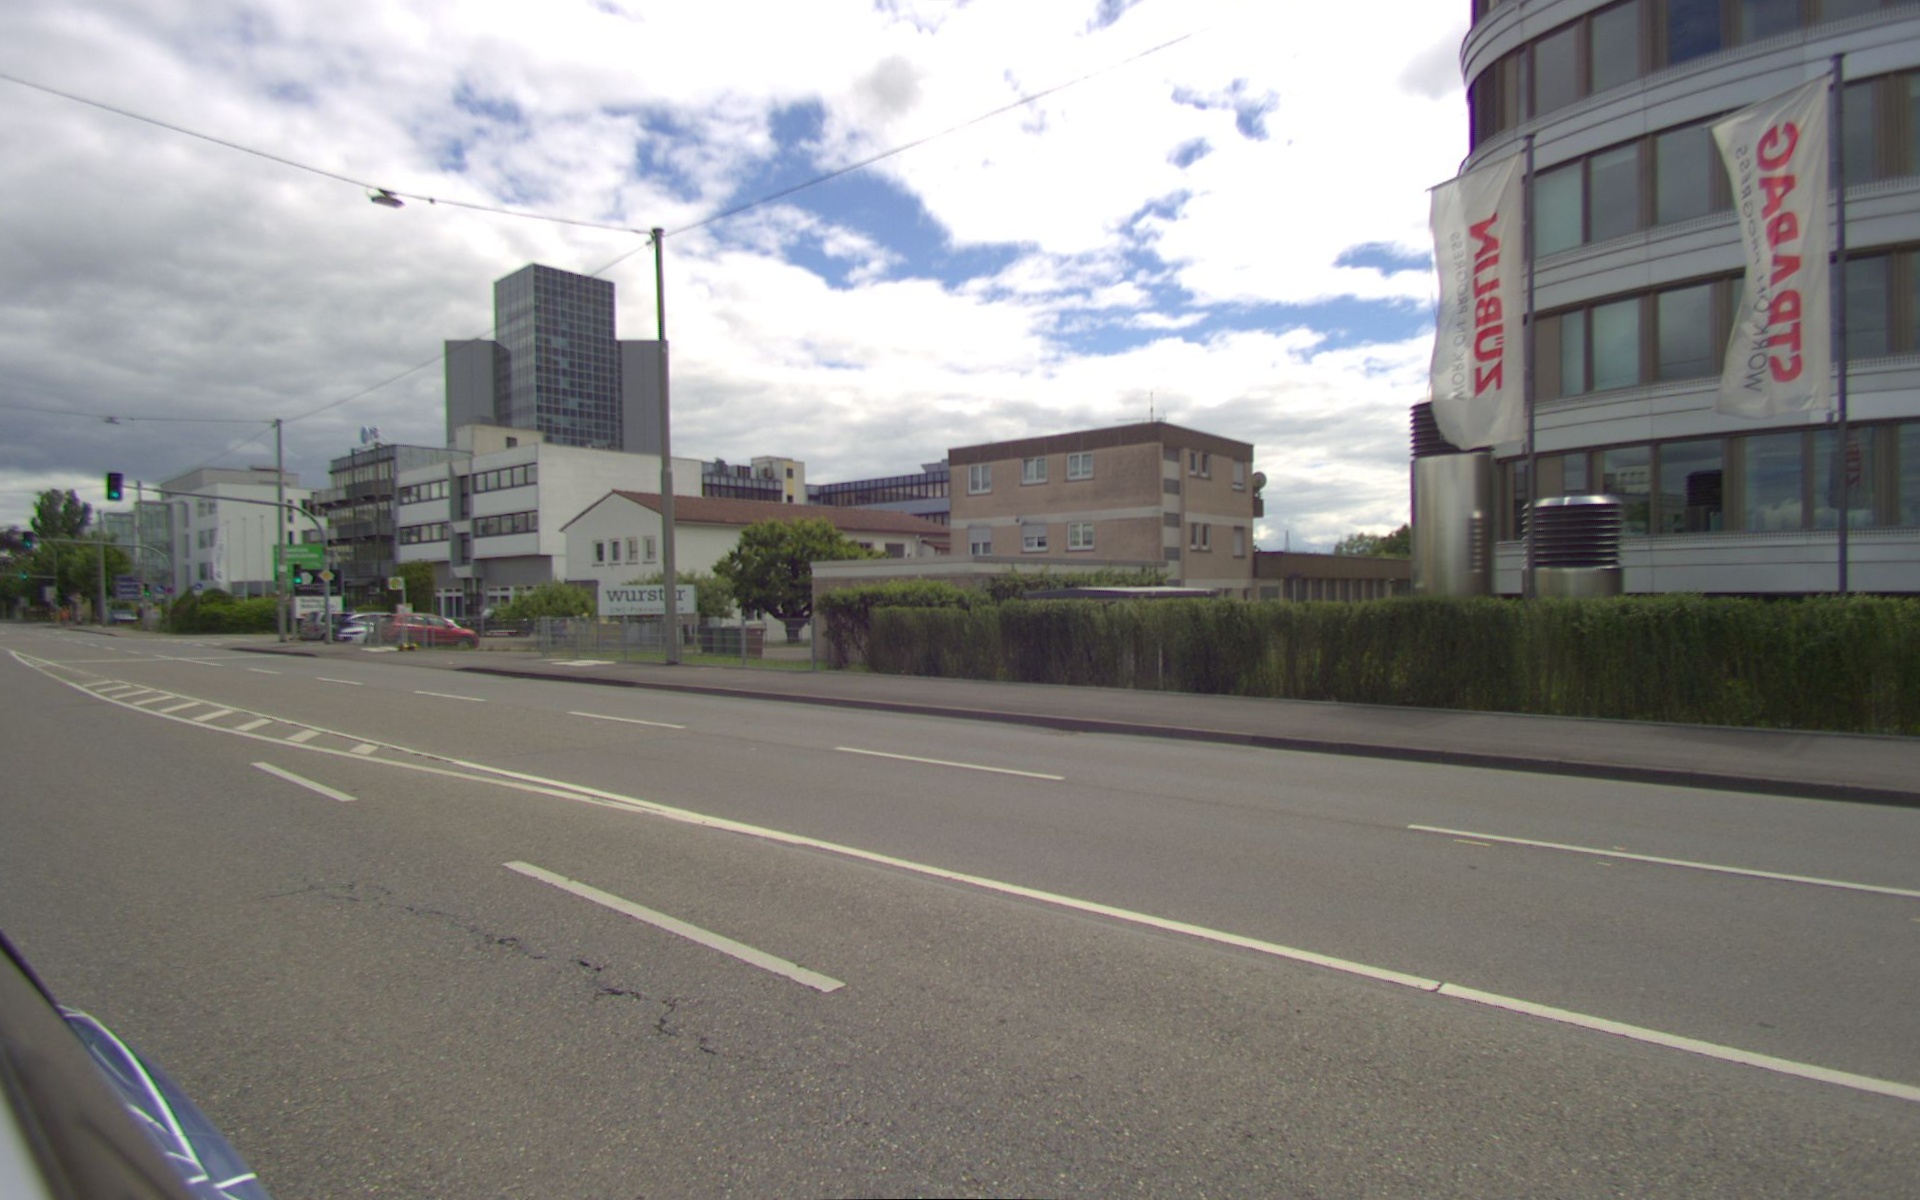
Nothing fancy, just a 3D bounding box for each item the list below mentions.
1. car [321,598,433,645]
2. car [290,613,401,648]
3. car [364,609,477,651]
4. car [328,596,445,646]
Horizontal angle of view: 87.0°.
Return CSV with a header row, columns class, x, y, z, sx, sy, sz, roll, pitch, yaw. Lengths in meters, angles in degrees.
class,x,y,z,sx,sy,sz,roll,pitch,yaw
car,-26.147,0.919,45.476,1.903,2.029,3.946,0,0,41
car,-28.319,1.376,46.731,1.822,1.342,3.947,-2,1,40
car,-22.385,1.232,42.069,1.833,1.623,3.756,-1,-1,38
car,-24.592,0.858,43.476,1.919,2.029,3.946,0,0,40
